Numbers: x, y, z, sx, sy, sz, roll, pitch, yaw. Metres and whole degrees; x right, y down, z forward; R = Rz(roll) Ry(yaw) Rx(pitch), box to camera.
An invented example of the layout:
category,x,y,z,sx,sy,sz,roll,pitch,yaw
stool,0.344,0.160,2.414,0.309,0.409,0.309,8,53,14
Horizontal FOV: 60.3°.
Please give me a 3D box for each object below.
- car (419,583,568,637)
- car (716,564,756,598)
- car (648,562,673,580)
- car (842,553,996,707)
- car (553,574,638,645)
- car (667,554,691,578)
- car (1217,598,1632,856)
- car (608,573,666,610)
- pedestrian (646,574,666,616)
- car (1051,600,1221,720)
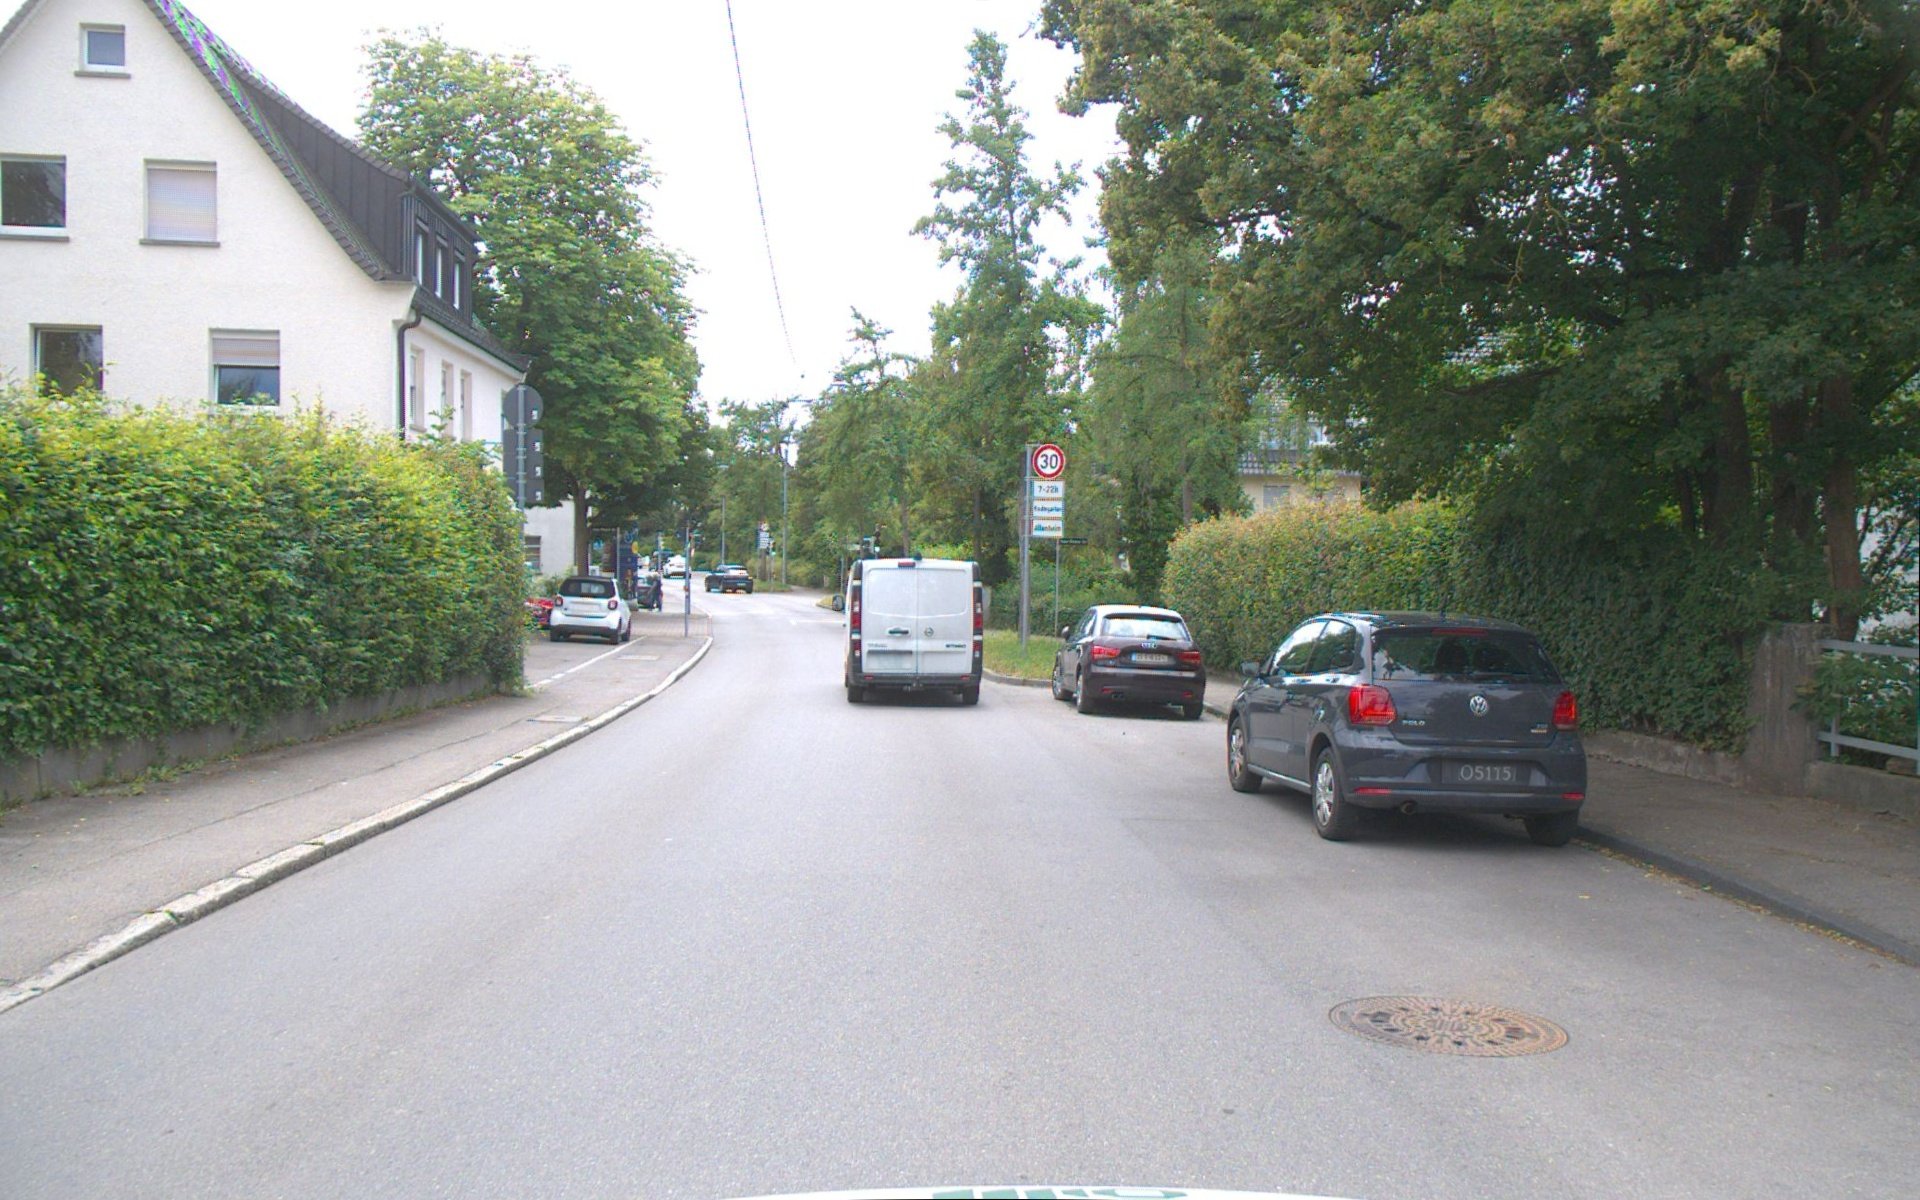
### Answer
category,x,y,z,sx,sy,sz,roll,pitch,yaw
car,-14.341,0.270,50.898,4.132,1.457,1.817,1,4,21
car,-13.334,-1.156,98.141,1.865,1.892,4.388,1,1,-14
car,-28.774,-2.802,158.769,1.864,1.639,4.479,1,1,-17
car,-0.693,0.356,23.999,1.892,1.998,4.397,1,1,-5
car,-8.797,0.201,40.097,1.557,1.565,2.921,3,1,-5
car,-22.043,-2.649,129.515,1.792,1.758,3.990,1,1,-11
car,3.095,0.766,11.845,1.676,1.513,3.787,1,0,-4
car,-14.037,-0.371,72.078,1.744,1.466,4.524,3,0,-2
pedestrian,-12.067,-0.200,65.671,0.684,1.644,0.714,1,1,-5
car,2.361,0.774,23.064,1.676,1.437,3.787,3,0,-4
